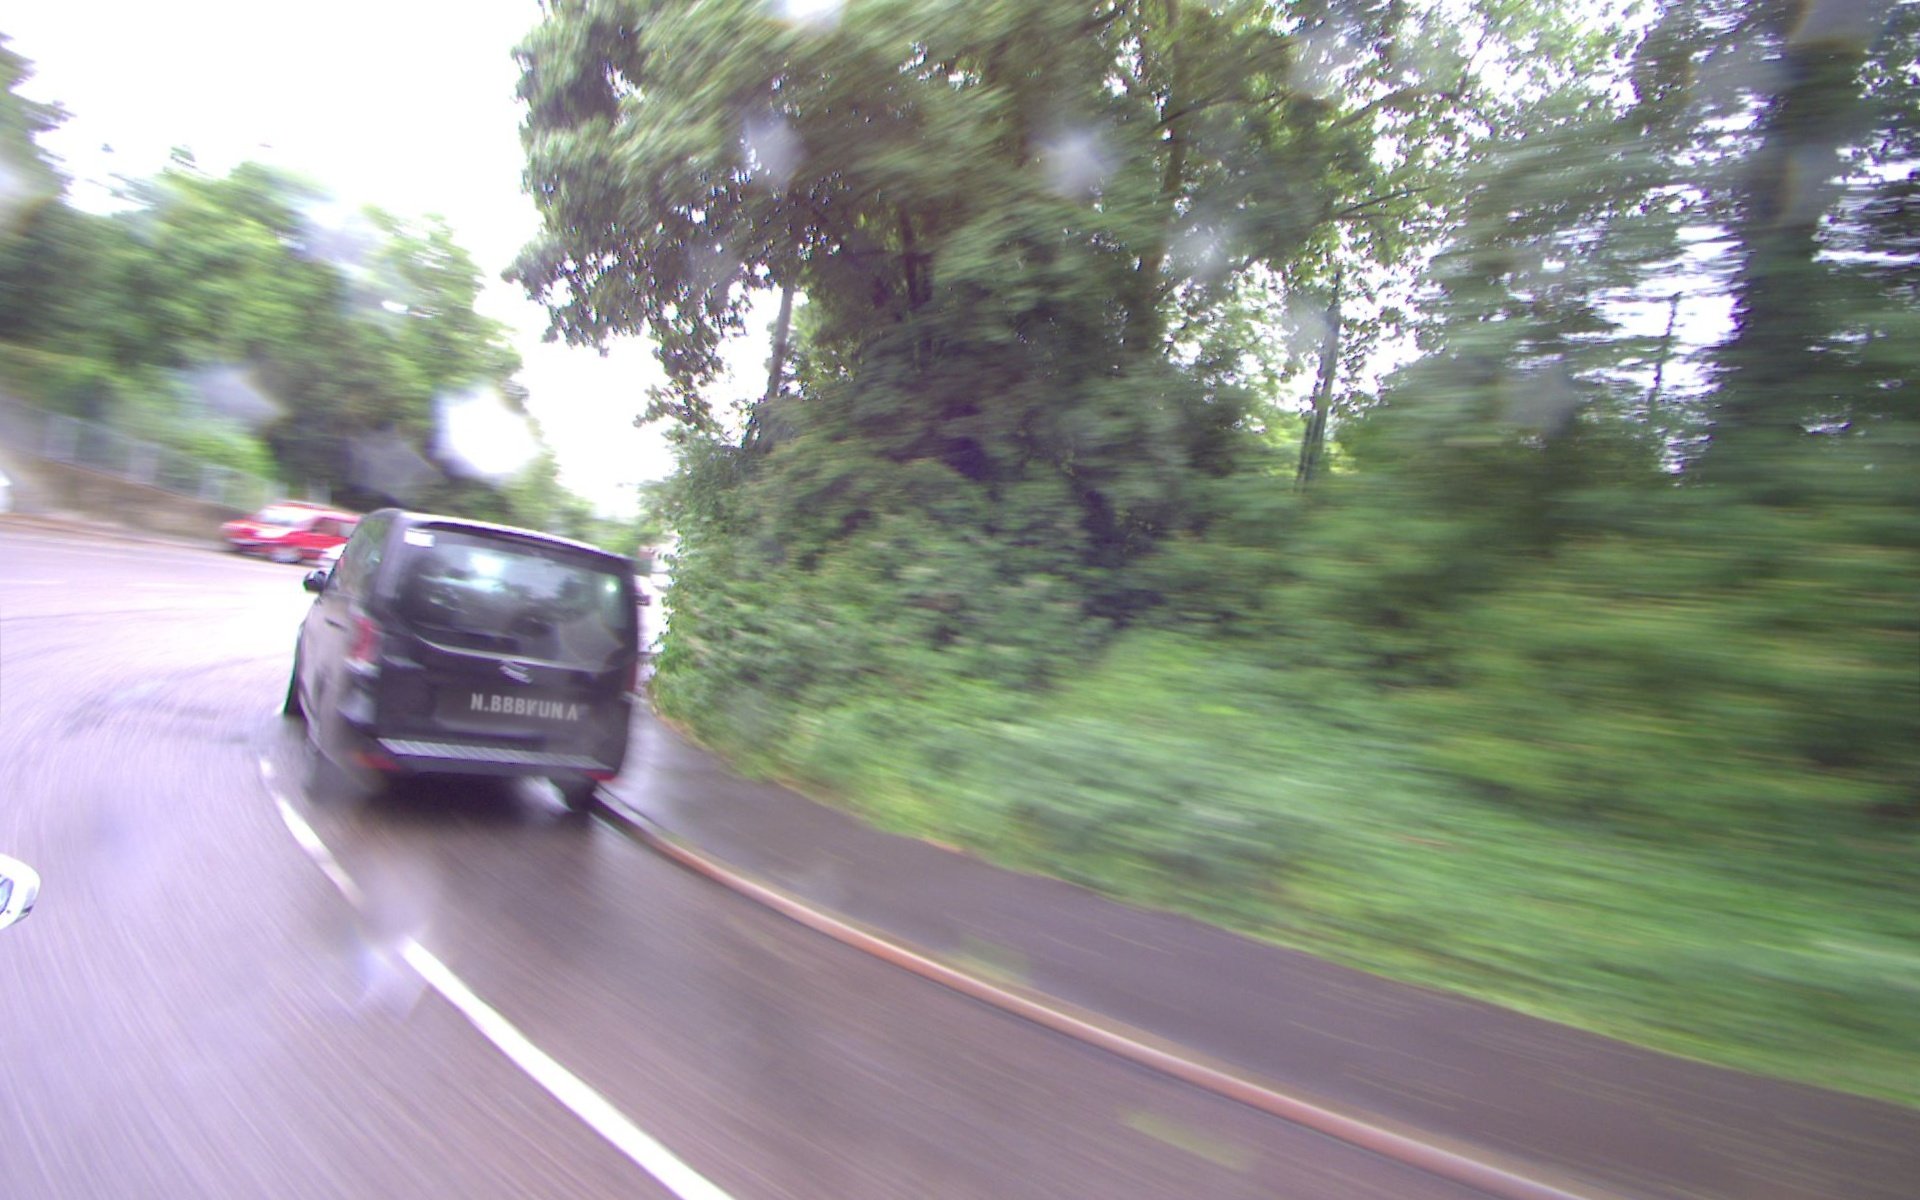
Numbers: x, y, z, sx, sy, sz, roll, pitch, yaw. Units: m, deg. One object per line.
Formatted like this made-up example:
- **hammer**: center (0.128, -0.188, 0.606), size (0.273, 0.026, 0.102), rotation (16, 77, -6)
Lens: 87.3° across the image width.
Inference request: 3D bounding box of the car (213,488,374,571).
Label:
- **car**: center (-19.963, -2.052, 30.368), size (1.723, 1.787, 4.141), rotation (9, -2, 3)

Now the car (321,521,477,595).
- **car**: center (-15.251, -1.080, 27.626), size (1.578, 1.512, 4.035), rotation (10, -1, 4)

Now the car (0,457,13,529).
- **car**: center (-20.453, -2.364, 18.638), size (1.714, 1.495, 4.197), rotation (12, -1, -2)

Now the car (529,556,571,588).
- **car**: center (-22.213, -1.509, 54.622), size (1.731, 1.475, 4.030), rotation (6, 0, -19)

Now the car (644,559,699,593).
- **car**: center (-21.847, -1.817, 76.101), size (1.872, 2.038, 4.631), rotation (7, 0, -45)

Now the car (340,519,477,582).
- **car**: center (-19.523, -1.691, 35.877), size (1.963, 1.638, 4.399), rotation (9, 0, 6)

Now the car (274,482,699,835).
- **car**: center (-4.149, 0.273, 8.182), size (1.986, 1.907, 4.986), rotation (12, -2, -36)

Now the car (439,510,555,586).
- **car**: center (-19.414, -2.081, 42.576), size (2.043, 2.580, 6.343), rotation (7, 0, -3)

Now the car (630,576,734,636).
- **car**: center (-8.270, 0.195, 30.293), size (1.566, 1.405, 3.823), rotation (11, 0, 5)

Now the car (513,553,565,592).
- **car**: center (-20.396, -1.300, 48.880), size (1.782, 1.602, 4.013), rotation (6, -1, -16)

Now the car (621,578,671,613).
- **car**: center (-16.323, -0.260, 52.482), size (1.843, 1.535, 4.475), rotation (7, 0, -11)
